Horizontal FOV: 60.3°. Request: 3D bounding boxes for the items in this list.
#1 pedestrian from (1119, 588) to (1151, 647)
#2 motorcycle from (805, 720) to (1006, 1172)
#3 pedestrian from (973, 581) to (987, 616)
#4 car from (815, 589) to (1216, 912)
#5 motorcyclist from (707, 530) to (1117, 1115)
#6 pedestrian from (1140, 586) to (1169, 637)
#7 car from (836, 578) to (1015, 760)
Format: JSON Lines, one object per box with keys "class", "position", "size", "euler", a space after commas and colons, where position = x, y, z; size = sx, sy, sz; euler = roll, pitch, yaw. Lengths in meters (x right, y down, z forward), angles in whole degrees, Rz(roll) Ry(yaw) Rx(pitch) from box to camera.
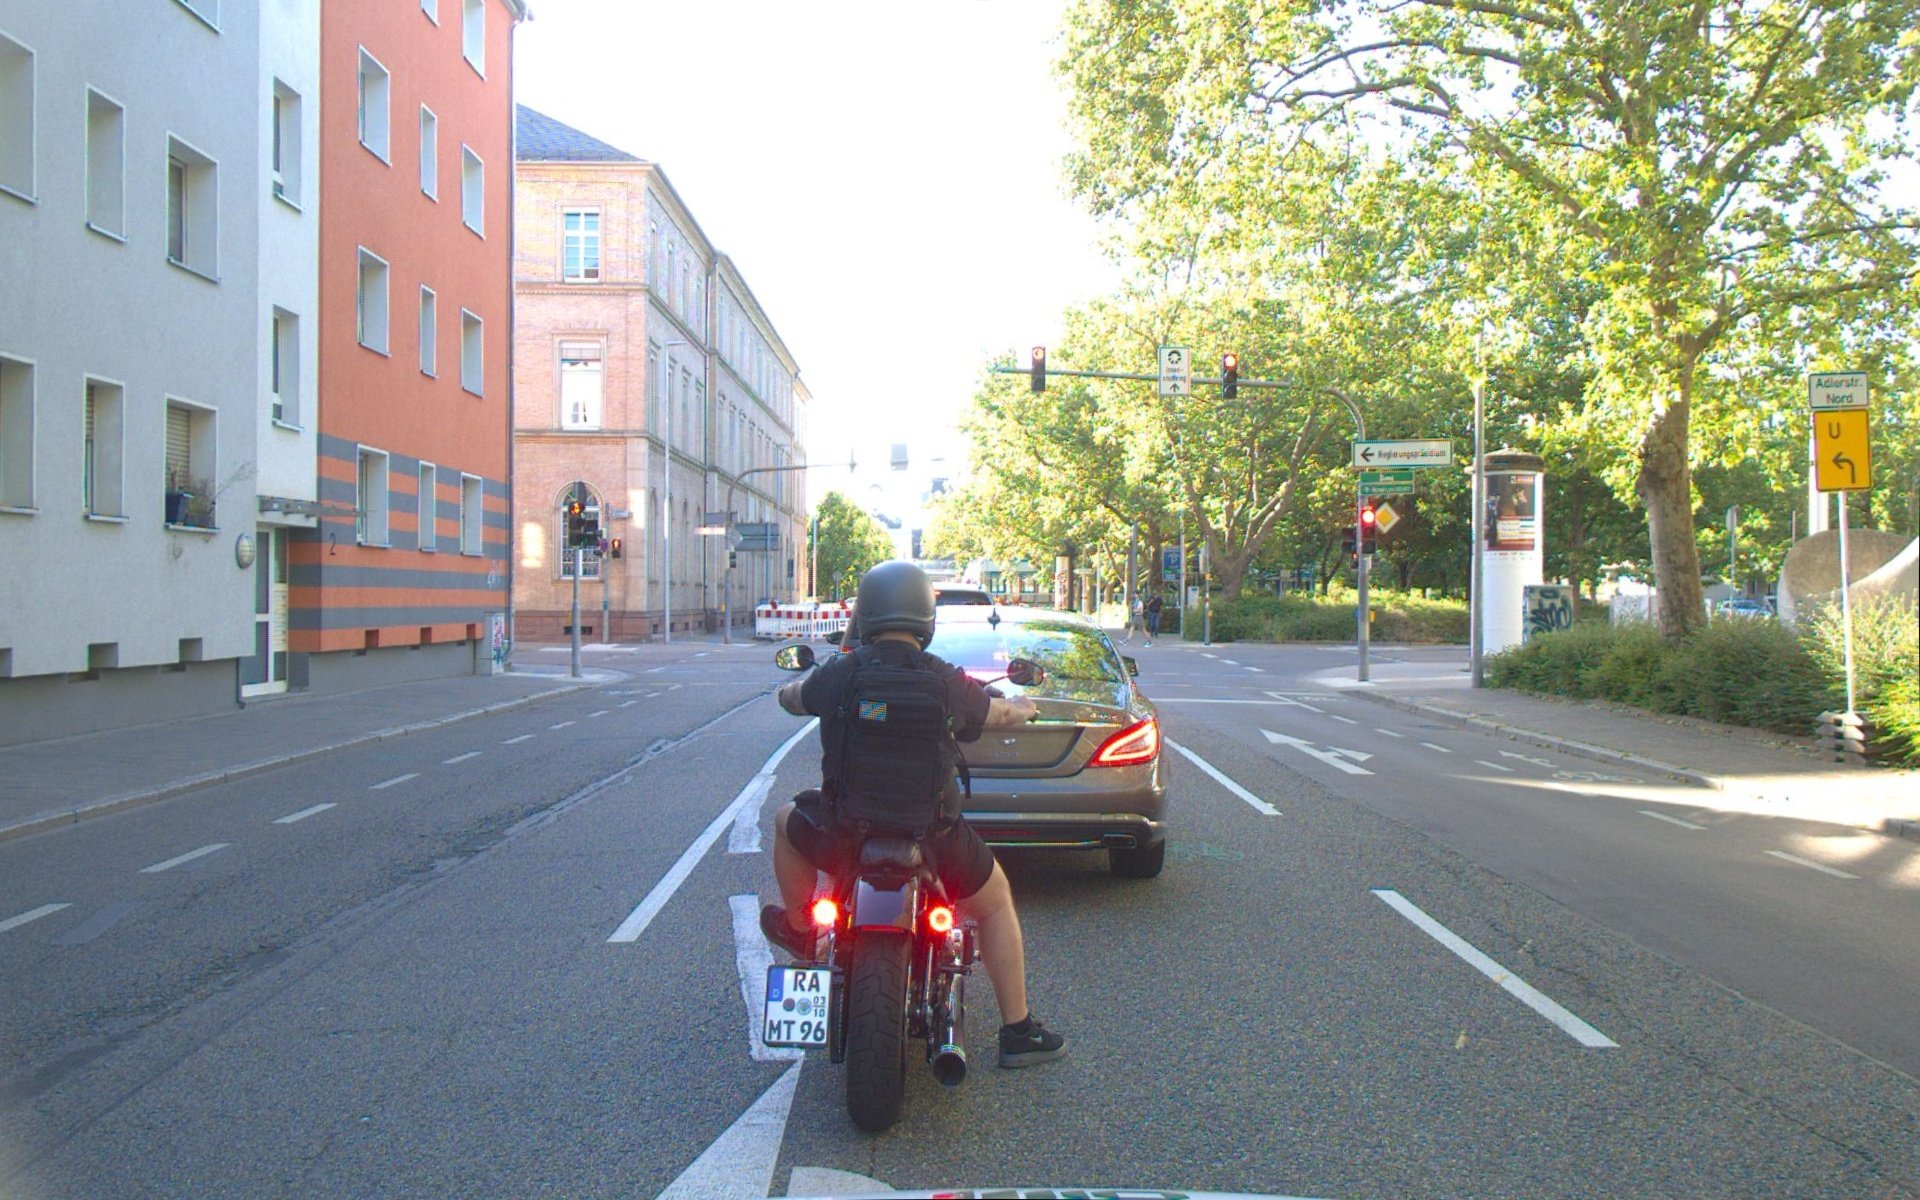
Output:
{"class": "pedestrian", "position": [5.624, 0.565, 53.221], "size": [0.980, 1.858, 1.077], "euler": [1, 0, 5]}
{"class": "motorcycle", "position": [-0.155, 0.967, 5.275], "size": [0.503, 1.020, 2.013], "euler": [1, 0, -1]}
{"class": "pedestrian", "position": [1.220, -0.089, 100.902], "size": [0.748, 2.087, 0.712], "euler": [1, -1, -1]}
{"class": "car", "position": [0.235, 0.692, 9.606], "size": [1.844, 1.475, 3.819], "euler": [1, 0, -1]}
{"class": "motorcyclist", "position": [-0.142, 0.629, 5.293], "size": [1.125, 1.626, 1.288], "euler": [1, 0, -1]}
{"class": "pedestrian", "position": [7.576, 0.446, 64.468], "size": [0.741, 1.943, 0.917], "euler": [1, -1, -29]}
{"class": "car", "position": [-0.331, 0.604, 16.715], "size": [1.588, 1.622, 3.999], "euler": [0, 0, -1]}
